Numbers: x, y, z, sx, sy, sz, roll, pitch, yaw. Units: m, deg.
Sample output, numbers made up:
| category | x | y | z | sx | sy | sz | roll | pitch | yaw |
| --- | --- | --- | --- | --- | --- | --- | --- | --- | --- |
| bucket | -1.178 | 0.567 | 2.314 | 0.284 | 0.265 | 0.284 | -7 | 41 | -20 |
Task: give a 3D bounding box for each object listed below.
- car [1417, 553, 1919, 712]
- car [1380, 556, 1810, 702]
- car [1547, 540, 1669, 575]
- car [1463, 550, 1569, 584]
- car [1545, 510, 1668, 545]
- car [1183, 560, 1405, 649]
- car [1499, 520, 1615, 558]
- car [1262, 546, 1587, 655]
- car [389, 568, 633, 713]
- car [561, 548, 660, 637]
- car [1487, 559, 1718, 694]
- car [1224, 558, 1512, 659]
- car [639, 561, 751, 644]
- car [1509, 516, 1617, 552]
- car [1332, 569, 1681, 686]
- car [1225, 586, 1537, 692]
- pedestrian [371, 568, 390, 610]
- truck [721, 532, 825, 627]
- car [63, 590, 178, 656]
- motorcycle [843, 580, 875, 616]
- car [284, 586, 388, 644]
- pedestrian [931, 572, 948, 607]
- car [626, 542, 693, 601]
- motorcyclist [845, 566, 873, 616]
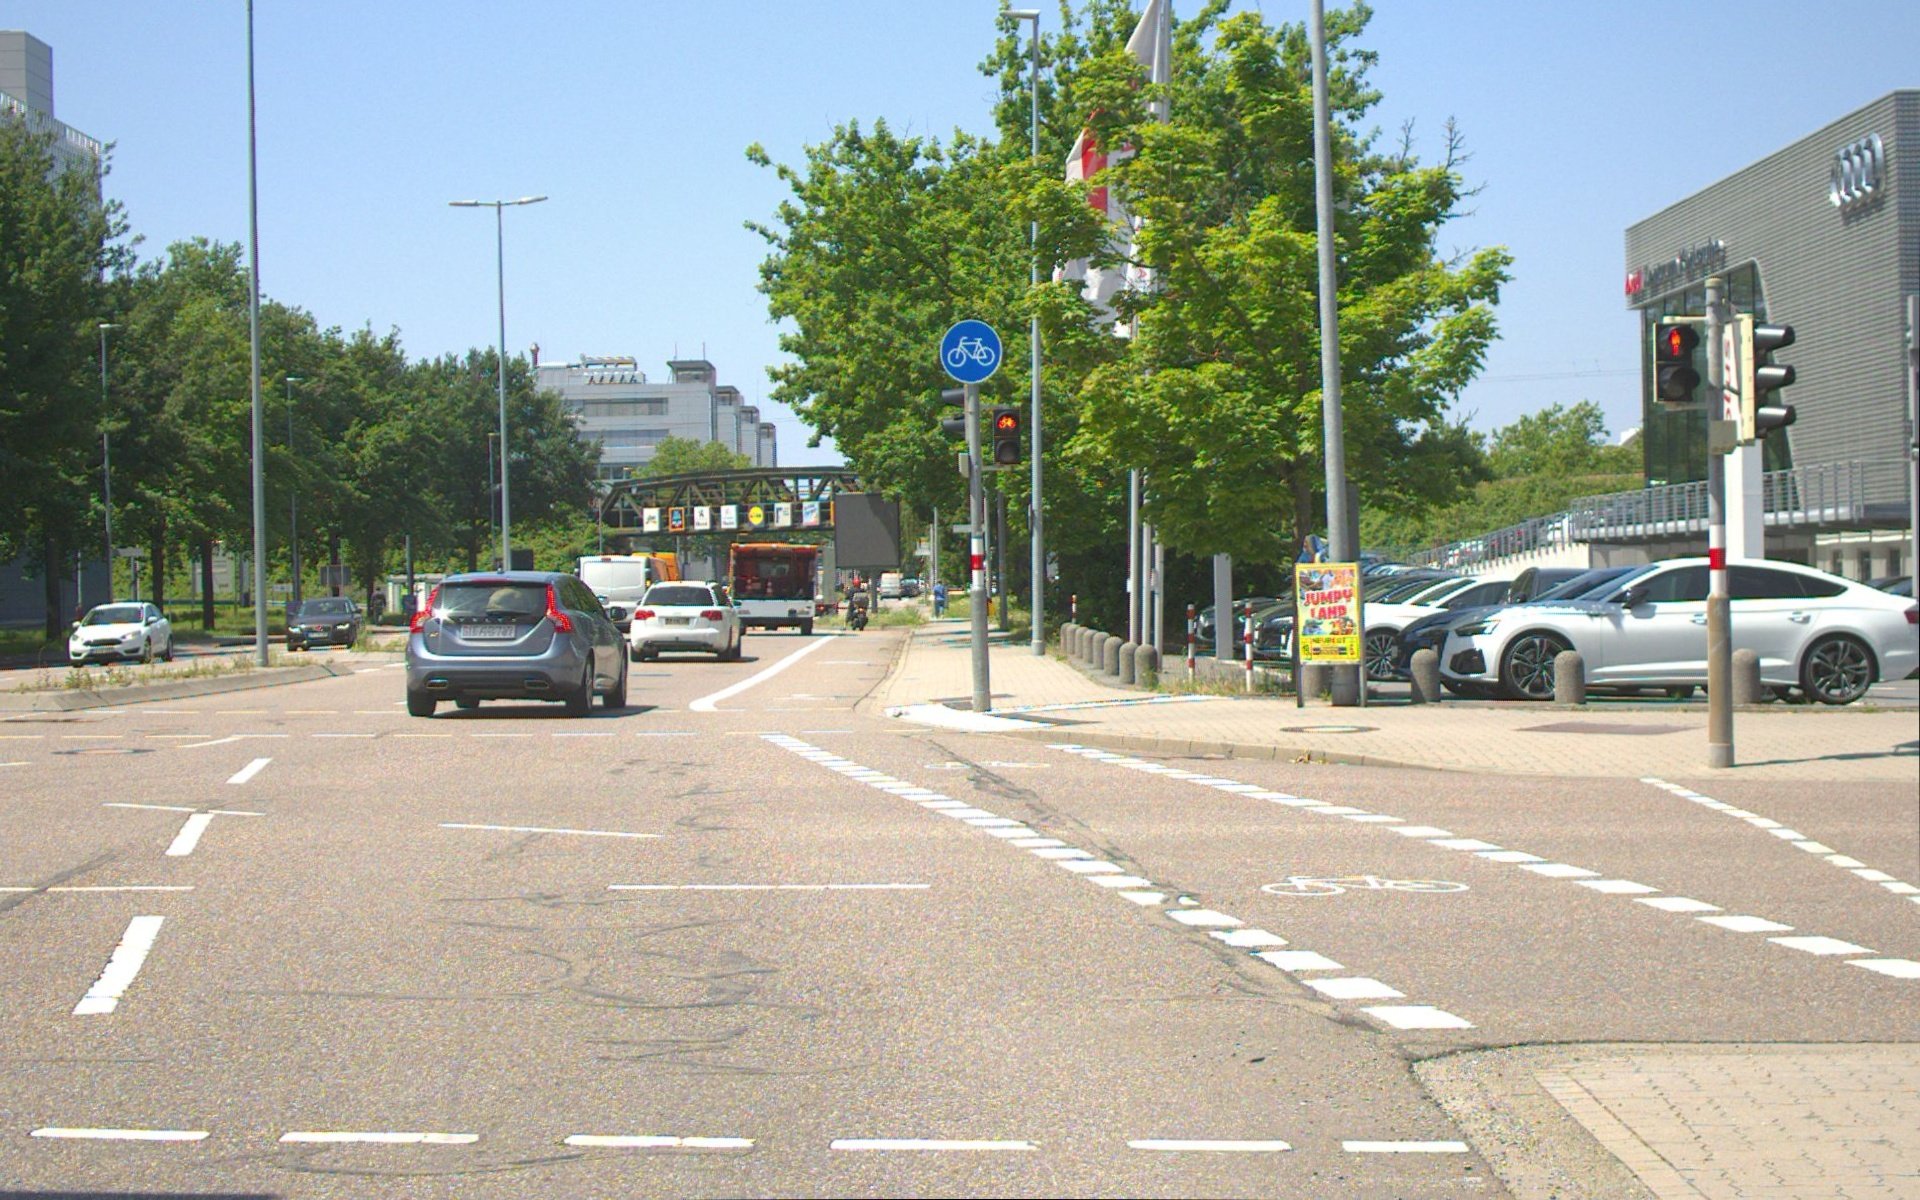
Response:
| category | x | y | z | sx | sy | sz | roll | pitch | yaw |
| --- | --- | --- | --- | --- | --- | --- | --- | --- | --- |
| car | 6.841 | 0.301 | 33.253 | 4.592 | 1.385 | 1.869 | 1 | 0 | 2 |
| car | 6.565 | 0.286 | 35.844 | 4.096 | 1.385 | 1.869 | 1 | 0 | 0 |
| car | 21.989 | -1.430 | 116.718 | 3.724 | 1.127 | 1.684 | 1 | 0 | -5 |
| car | 22.913 | -1.367 | 141.731 | 3.986 | 1.307 | 1.798 | -1 | 0 | -5 |
| car | 22.631 | -2.533 | 120.443 | 3.938 | 1.207 | 1.718 | 0 | 0 | -5 |
| car | 5.830 | 0.078 | 60.303 | 3.681 | 1.448 | 1.834 | 1 | 0 | 0 |
| car | 22.463 | -2.286 | 129.446 | 3.986 | 1.307 | 1.798 | 1 | 0 | -5 |
| car | 6.227 | 0.002 | 46.411 | 4.099 | 1.344 | 1.869 | 1 | 0 | 0 |
| car | -4.553 | 0.380 | 35.452 | 1.900 | 1.371 | 4.231 | -1 | 0 | 1 |
| car | -8.222 | -0.183 | 81.114 | 1.993 | 2.007 | 4.000 | -1 | 0 | -1 |
| car | 7.341 | 0.276 | 39.684 | 1.863 | 1.415 | 4.662 | 1 | 0 | 1 |
| car | 6.156 | 0.124 | 52.187 | 4.101 | 1.400 | 1.869 | 1 | 0 | 0 |
| car | -4.698 | 0.022 | 61.284 | 1.744 | 1.391 | 3.529 | -1 | 1 | -1 |
| car | 21.844 | -2.384 | 124.673 | 3.523 | 1.235 | 1.677 | 1 | 0 | -5 |
| car | 6.892 | 0.333 | 43.680 | 4.096 | 1.360 | 1.874 | 1 | 0 | 0 |
| car | 6.008 | 0.551 | 49.400 | 4.226 | 1.385 | 1.869 | 1 | 0 | 0 |
| pedestrian | -26.108 | -0.488 | 154.907 | 0.743 | 1.878 | 0.577 | -1 | 0 | 0 |
| truck | -4.961 | -0.564 | 92.308 | 2.458 | 2.402 | 7.134 | 1 | 1 | -1 |
| car | -19.792 | 0.538 | 81.160 | 1.743 | 1.481 | 4.000 | -2 | 0 | -1 |
| motorcycle | -3.120 | -0.059 | 106.169 | 0.716 | 1.101 | 1.831 | 1 | 0 | -10 |
| car | -16.865 | 0.399 | 93.082 | 1.726 | 1.441 | 4.719 | -3 | 0 | 2 |
| pedestrian | -0.805 | -0.405 | 133.326 | 0.623 | 1.370 | 0.564 | -1 | 0 | -2 |
| car | -10.667 | -1.017 | 122.492 | 1.993 | 2.007 | 4.813 | 1 | 1 | -1 |
| motorcyclist | -3.128 | -0.284 | 106.206 | 0.719 | 1.524 | 0.871 | 1 | 0 | -10 |
